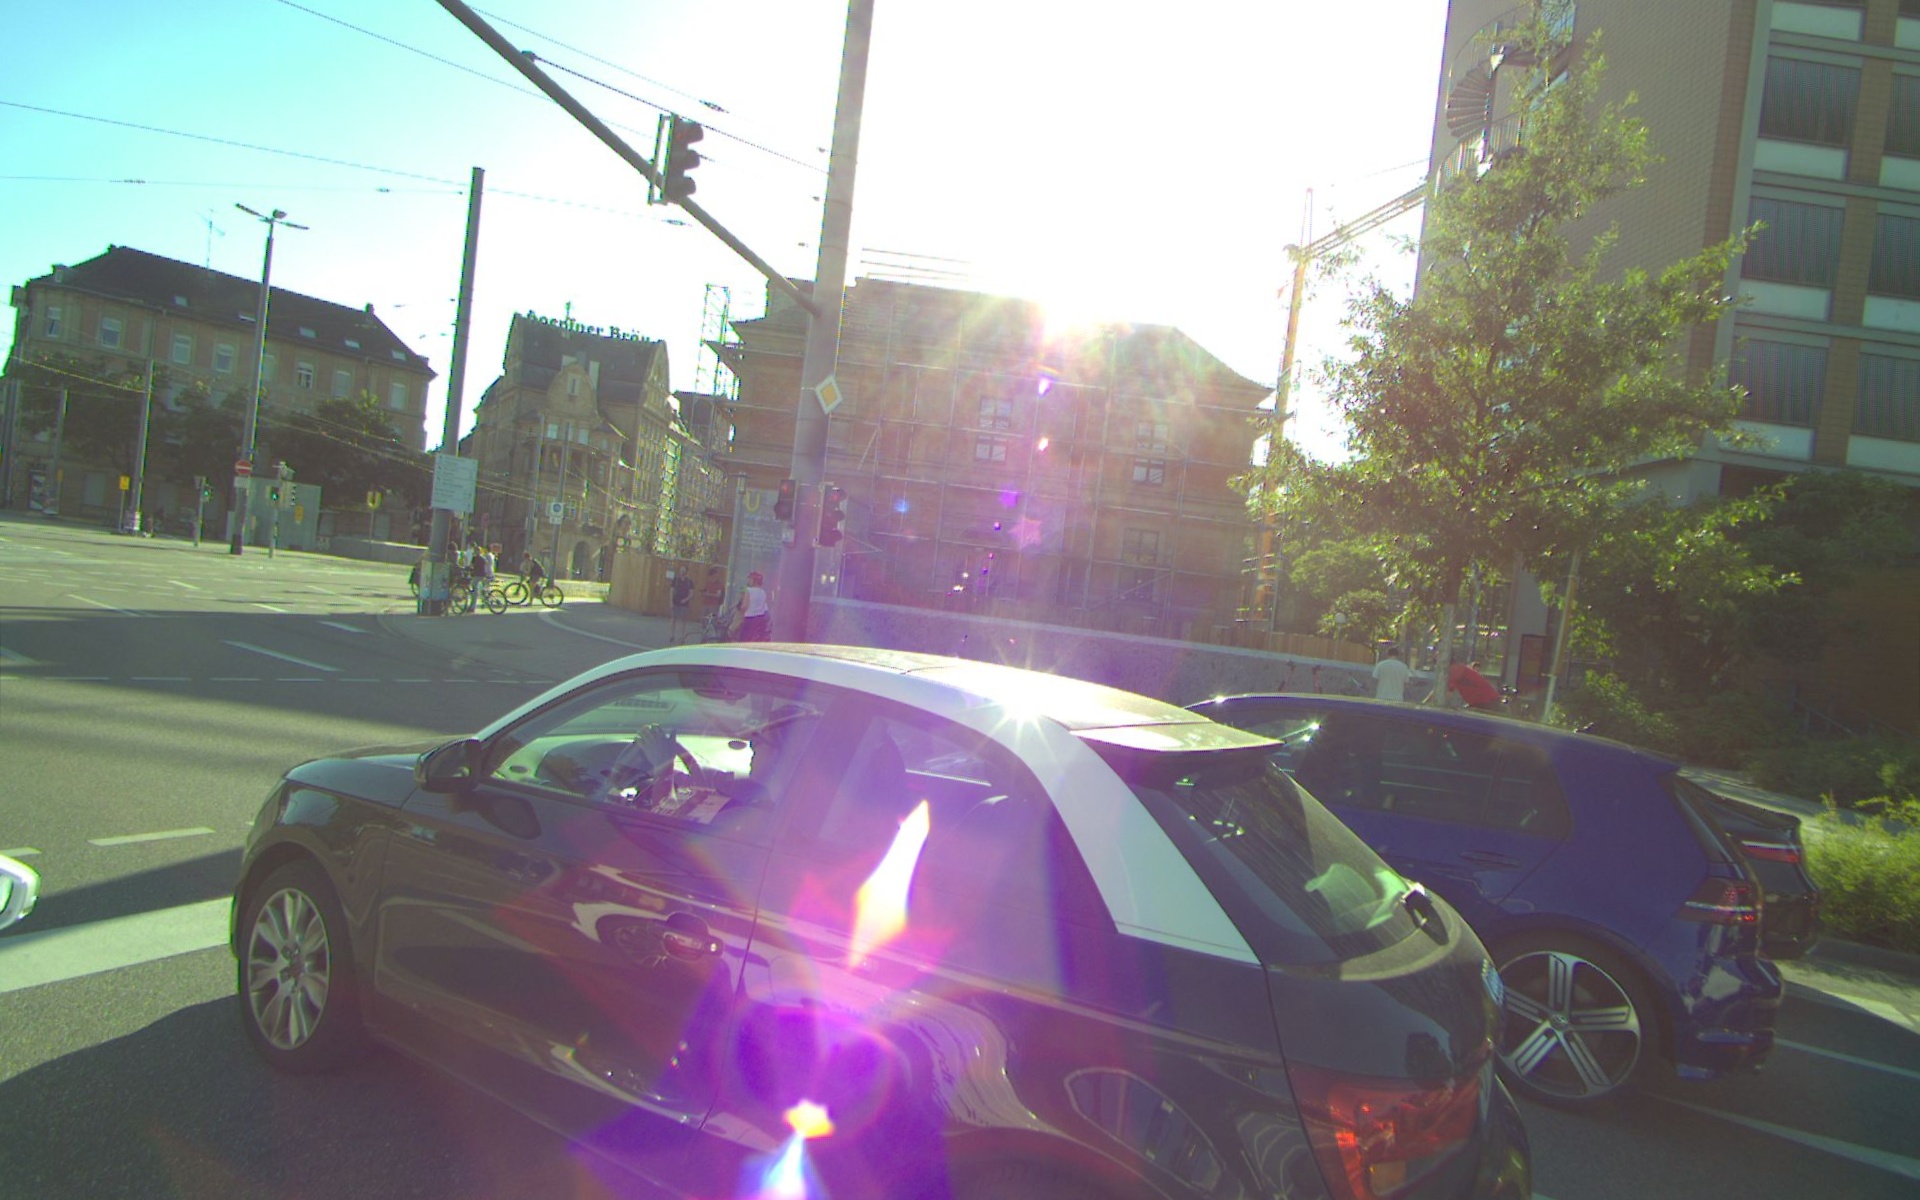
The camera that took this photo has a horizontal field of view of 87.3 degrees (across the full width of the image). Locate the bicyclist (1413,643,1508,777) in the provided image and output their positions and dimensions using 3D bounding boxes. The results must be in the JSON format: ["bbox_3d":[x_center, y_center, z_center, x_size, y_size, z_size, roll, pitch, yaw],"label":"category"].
[{"bbox_3d":[6.439,1.403,12.949,0.858,1.578,0.616,6,-2,37],"label":"bicyclist"}]

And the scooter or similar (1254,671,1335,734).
[{"bbox_3d":[6.369,1.950,19.182,1.346,1.007,0.343,7,-1,12],"label":"scooter or similar"}]

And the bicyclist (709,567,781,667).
[{"bbox_3d":[-3.621,0.296,16.976,0.781,1.571,0.668,6,-1,27],"label":"bicyclist"}]

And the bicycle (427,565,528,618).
[{"bbox_3d":[-12.579,-0.221,26.250,2.276,1.061,0.702,7,-1,8],"label":"bicycle"}]

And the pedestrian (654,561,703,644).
[{"bbox_3d":[-6.454,0.063,23.096,0.672,1.830,0.672,7,1,11],"label":"pedestrian"}]

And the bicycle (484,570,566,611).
[{"bbox_3d":[-13.501,-0.298,31.265,2.289,1.063,0.532,5,2,-25],"label":"bicycle"}]

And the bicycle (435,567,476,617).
[{"bbox_3d":[-12.509,-0.227,24.925,0.693,1.061,2.303,8,-1,-29],"label":"bicycle"}]

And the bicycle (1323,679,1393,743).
[{"bbox_3d":[7.325,2.032,18.541,0.352,1.015,1.149,7,-2,-29],"label":"bicycle"}]

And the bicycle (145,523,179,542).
[{"bbox_3d":[-50.784,-4.283,64.016,1.588,0.963,0.652,9,-2,-39],"label":"bicycle"}]

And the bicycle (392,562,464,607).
[{"bbox_3d":[-16.254,-0.480,30.715,2.278,1.061,0.536,8,-1,23],"label":"bicycle"}]

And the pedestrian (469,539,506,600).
[{"bbox_3d":[-15.992,-1.035,34.074,0.678,1.945,0.649,6,-1,24],"label":"pedestrian"}]

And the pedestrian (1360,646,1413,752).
[{"bbox_3d":[7.113,1.624,16.763,0.592,1.662,0.677,6,2,29],"label":"pedestrian"}]

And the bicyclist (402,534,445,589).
[{"bbox_3d":[-16.451,-1.185,30.840,0.930,1.575,0.516,6,-1,23],"label":"bicyclist"}]

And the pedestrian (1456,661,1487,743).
[{"bbox_3d":[11.250,2.236,22.136,0.369,1.752,0.444,6,-1,17],"label":"pedestrian"}]

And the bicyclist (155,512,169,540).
[{"bbox_3d":[-50.768,-4.682,64.001,0.512,1.720,0.515,8,-1,-38],"label":"bicyclist"}]

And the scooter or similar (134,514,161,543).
[{"bbox_3d":[-42.032,-3.697,52.033,0.784,1.392,1.885,8,-2,-44],"label":"scooter or similar"}]

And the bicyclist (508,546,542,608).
[{"bbox_3d":[-13.509,-0.712,31.255,0.785,1.800,0.520,7,-1,-23],"label":"bicyclist"}]

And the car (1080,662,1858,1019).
[{"bbox_3d":[3.320,1.457,7.328,4.436,1.420,1.727,6,-2,31],"label":"car"}]

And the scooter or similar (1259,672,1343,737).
[{"bbox_3d":[6.285,1.913,18.561,1.348,1.007,0.342,6,-1,25],"label":"scooter or similar"}]

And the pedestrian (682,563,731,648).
[{"bbox_3d":[-5.778,0.141,22.942,0.672,1.828,0.673,7,-1,11],"label":"pedestrian"}]

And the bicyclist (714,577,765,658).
[{"bbox_3d":[-4.285,0.351,19.586,0.661,1.471,0.618,7,-1,3],"label":"bicyclist"}]

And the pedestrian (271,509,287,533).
[{"bbox_3d":[-59.974,-6.960,88.595,0.745,2.037,0.717,6,-1,33],"label":"pedestrian"}]

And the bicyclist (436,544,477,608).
[{"bbox_3d":[-12.423,-0.590,24.817,0.702,1.456,0.940,7,-2,-30],"label":"bicyclist"}]

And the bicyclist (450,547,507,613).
[{"bbox_3d":[-12.551,-0.513,26.241,0.929,1.575,0.711,7,-1,8],"label":"bicyclist"}]

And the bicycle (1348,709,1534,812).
[{"bbox_3d":[6.202,2.036,13.038,2.005,0.975,0.658,5,0,37],"label":"bicycle"}]

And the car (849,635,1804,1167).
[{"bbox_3d":[1.556,1.143,5.166,3.934,1.420,1.627,6,-2,32],"label":"car"}]

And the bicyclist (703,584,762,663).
[{"bbox_3d":[-4.152,0.430,18.394,0.662,1.330,0.617,6,-1,27],"label":"bicyclist"}]

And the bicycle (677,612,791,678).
[{"bbox_3d":[-4.135,0.809,18.369,1.999,0.976,0.659,6,2,27],"label":"bicycle"}]

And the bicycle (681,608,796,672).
[{"bbox_3d":[-4.299,0.776,19.587,1.997,0.976,0.660,7,2,4],"label":"bicycle"}]

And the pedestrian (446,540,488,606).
[{"bbox_3d":[-16.392,-0.889,33.456,0.748,2.037,0.733,6,-1,24],"label":"pedestrian"}]

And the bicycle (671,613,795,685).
[{"bbox_3d":[-3.855,0.825,17.062,1.999,0.974,0.660,6,-2,27],"label":"bicycle"}]

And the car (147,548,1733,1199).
[{"bbox_3d":[-0.437,0.784,2.890,3.934,1.420,1.627,6,-2,32],"label":"car"}]
